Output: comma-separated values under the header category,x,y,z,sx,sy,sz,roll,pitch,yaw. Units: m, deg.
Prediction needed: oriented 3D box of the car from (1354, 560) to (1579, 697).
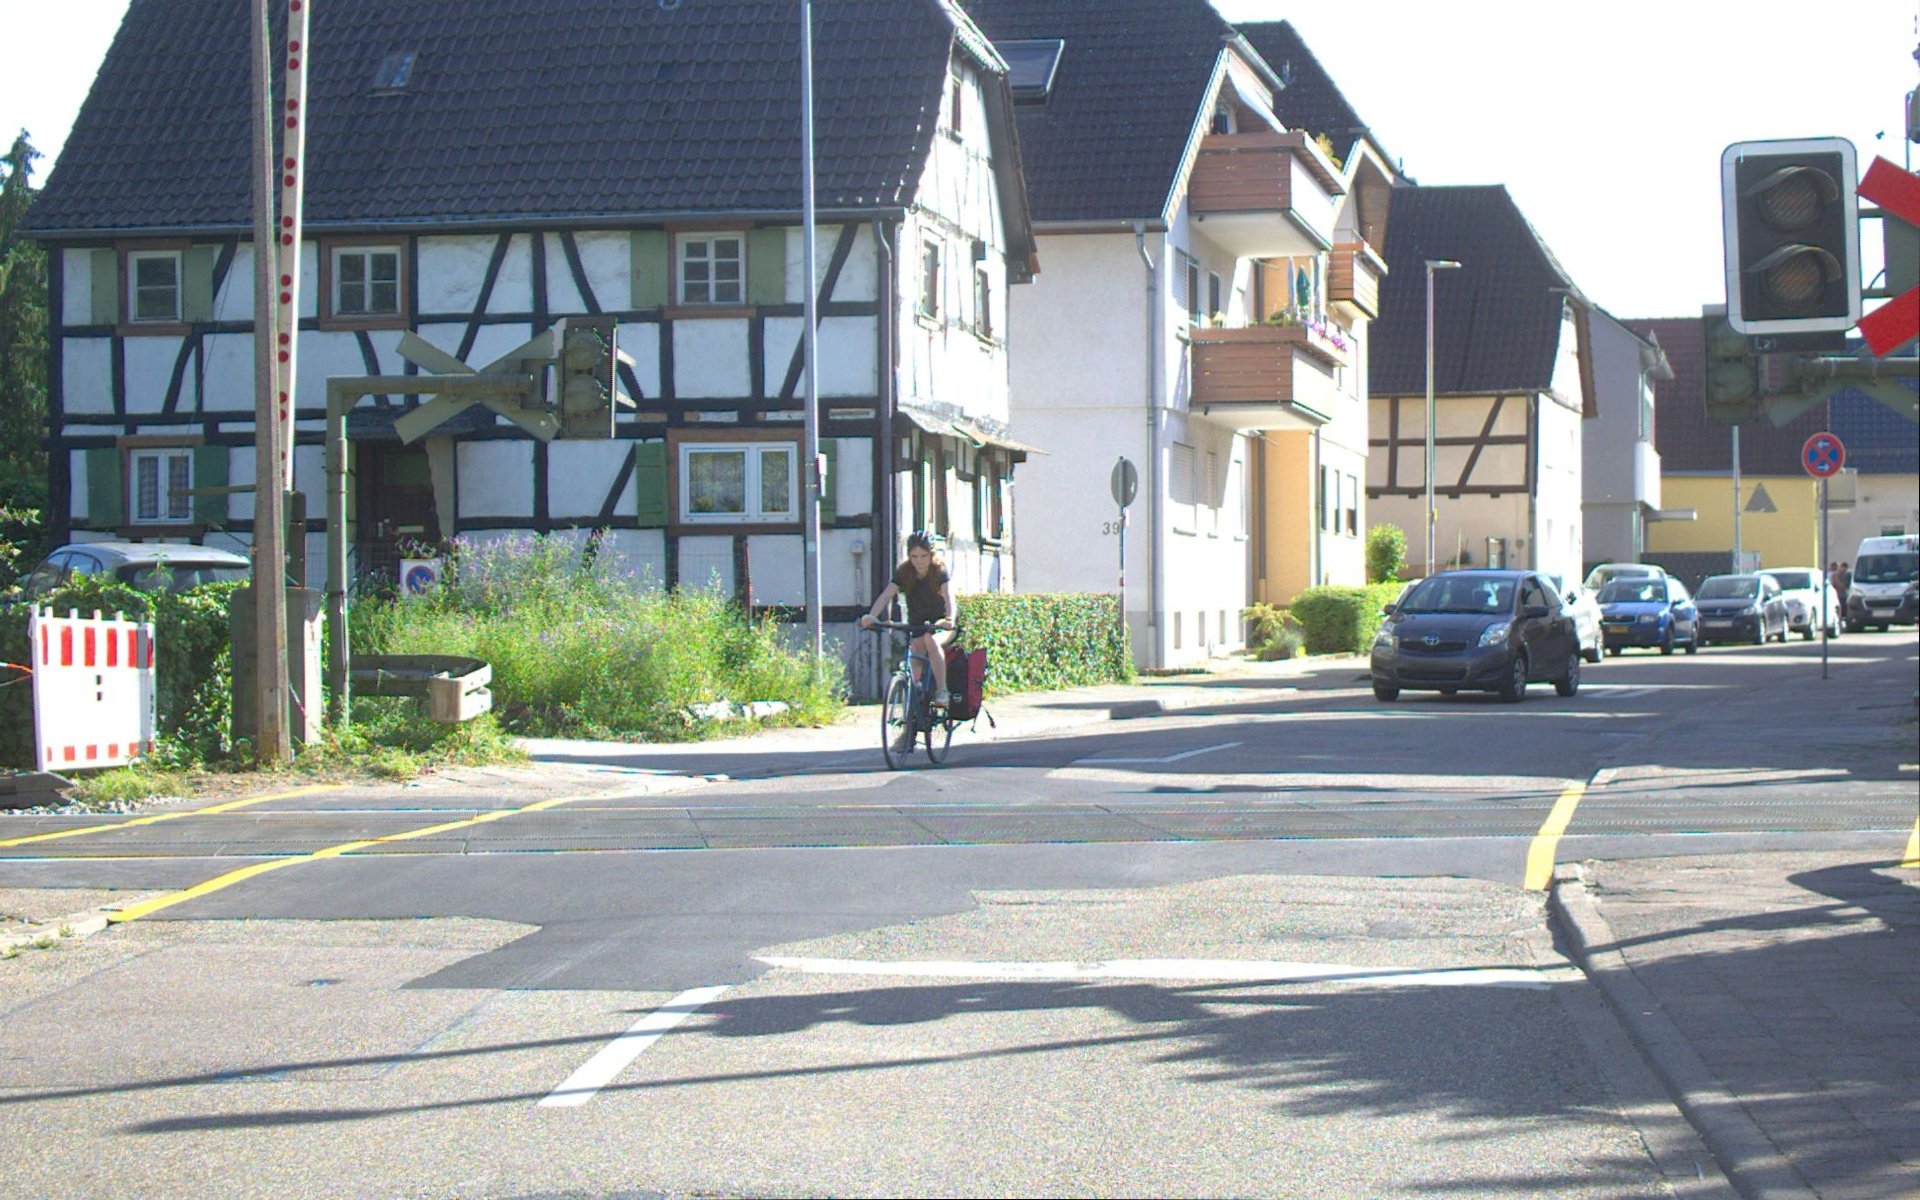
category,x,y,z,sx,sy,sz,roll,pitch,yaw
car,5.917,0.319,39.890,1.688,1.505,3.650,0,0,24

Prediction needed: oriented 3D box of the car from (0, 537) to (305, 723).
category,x,y,z,sx,sy,sz,roll,pitch,yaw
car,-7.483,0.241,31.486,1.683,1.559,4.000,2,0,-29

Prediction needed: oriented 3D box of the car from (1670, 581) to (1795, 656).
category,x,y,z,sx,sy,sz,roll,pitch,yaw
car,16.315,0.386,72.489,1.706,1.513,4.116,-2,-1,25

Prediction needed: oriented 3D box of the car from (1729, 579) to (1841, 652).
category,x,y,z,sx,sy,sz,roll,pitch,yaw
car,18.404,0.330,76.573,1.675,1.566,3.960,-1,0,24

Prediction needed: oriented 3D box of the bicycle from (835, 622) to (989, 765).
category,x,y,z,sx,sy,sz,roll,pitch,yaw
bicycle,-0.331,0.673,25.332,0.883,1.002,2.062,-1,-1,6

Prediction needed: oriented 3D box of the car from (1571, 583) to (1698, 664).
category,x,y,z,sx,sy,sz,roll,pitch,yaw
car,12.525,0.433,63.696,1.640,1.436,4.070,-1,-1,21

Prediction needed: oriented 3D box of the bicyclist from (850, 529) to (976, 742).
category,x,y,z,sx,sy,sz,roll,pitch,yaw
bicyclist,-0.339,0.252,25.320,0.848,1.536,0.873,0,0,4

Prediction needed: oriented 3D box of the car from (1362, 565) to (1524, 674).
category,x,y,z,sx,sy,sz,roll,pitch,yaw
car,7.225,0.268,51.166,1.632,1.501,3.849,-3,-1,19

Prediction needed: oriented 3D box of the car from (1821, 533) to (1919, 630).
category,x,y,z,sx,sy,sz,roll,pitch,yaw
car,23.772,-0.458,88.398,2.080,2.386,5.201,-1,-1,26

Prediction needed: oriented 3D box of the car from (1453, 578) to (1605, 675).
category,x,y,z,sx,sy,sz,roll,pitch,yaw
car,9.240,0.405,55.570,1.675,1.501,4.090,-1,0,20
